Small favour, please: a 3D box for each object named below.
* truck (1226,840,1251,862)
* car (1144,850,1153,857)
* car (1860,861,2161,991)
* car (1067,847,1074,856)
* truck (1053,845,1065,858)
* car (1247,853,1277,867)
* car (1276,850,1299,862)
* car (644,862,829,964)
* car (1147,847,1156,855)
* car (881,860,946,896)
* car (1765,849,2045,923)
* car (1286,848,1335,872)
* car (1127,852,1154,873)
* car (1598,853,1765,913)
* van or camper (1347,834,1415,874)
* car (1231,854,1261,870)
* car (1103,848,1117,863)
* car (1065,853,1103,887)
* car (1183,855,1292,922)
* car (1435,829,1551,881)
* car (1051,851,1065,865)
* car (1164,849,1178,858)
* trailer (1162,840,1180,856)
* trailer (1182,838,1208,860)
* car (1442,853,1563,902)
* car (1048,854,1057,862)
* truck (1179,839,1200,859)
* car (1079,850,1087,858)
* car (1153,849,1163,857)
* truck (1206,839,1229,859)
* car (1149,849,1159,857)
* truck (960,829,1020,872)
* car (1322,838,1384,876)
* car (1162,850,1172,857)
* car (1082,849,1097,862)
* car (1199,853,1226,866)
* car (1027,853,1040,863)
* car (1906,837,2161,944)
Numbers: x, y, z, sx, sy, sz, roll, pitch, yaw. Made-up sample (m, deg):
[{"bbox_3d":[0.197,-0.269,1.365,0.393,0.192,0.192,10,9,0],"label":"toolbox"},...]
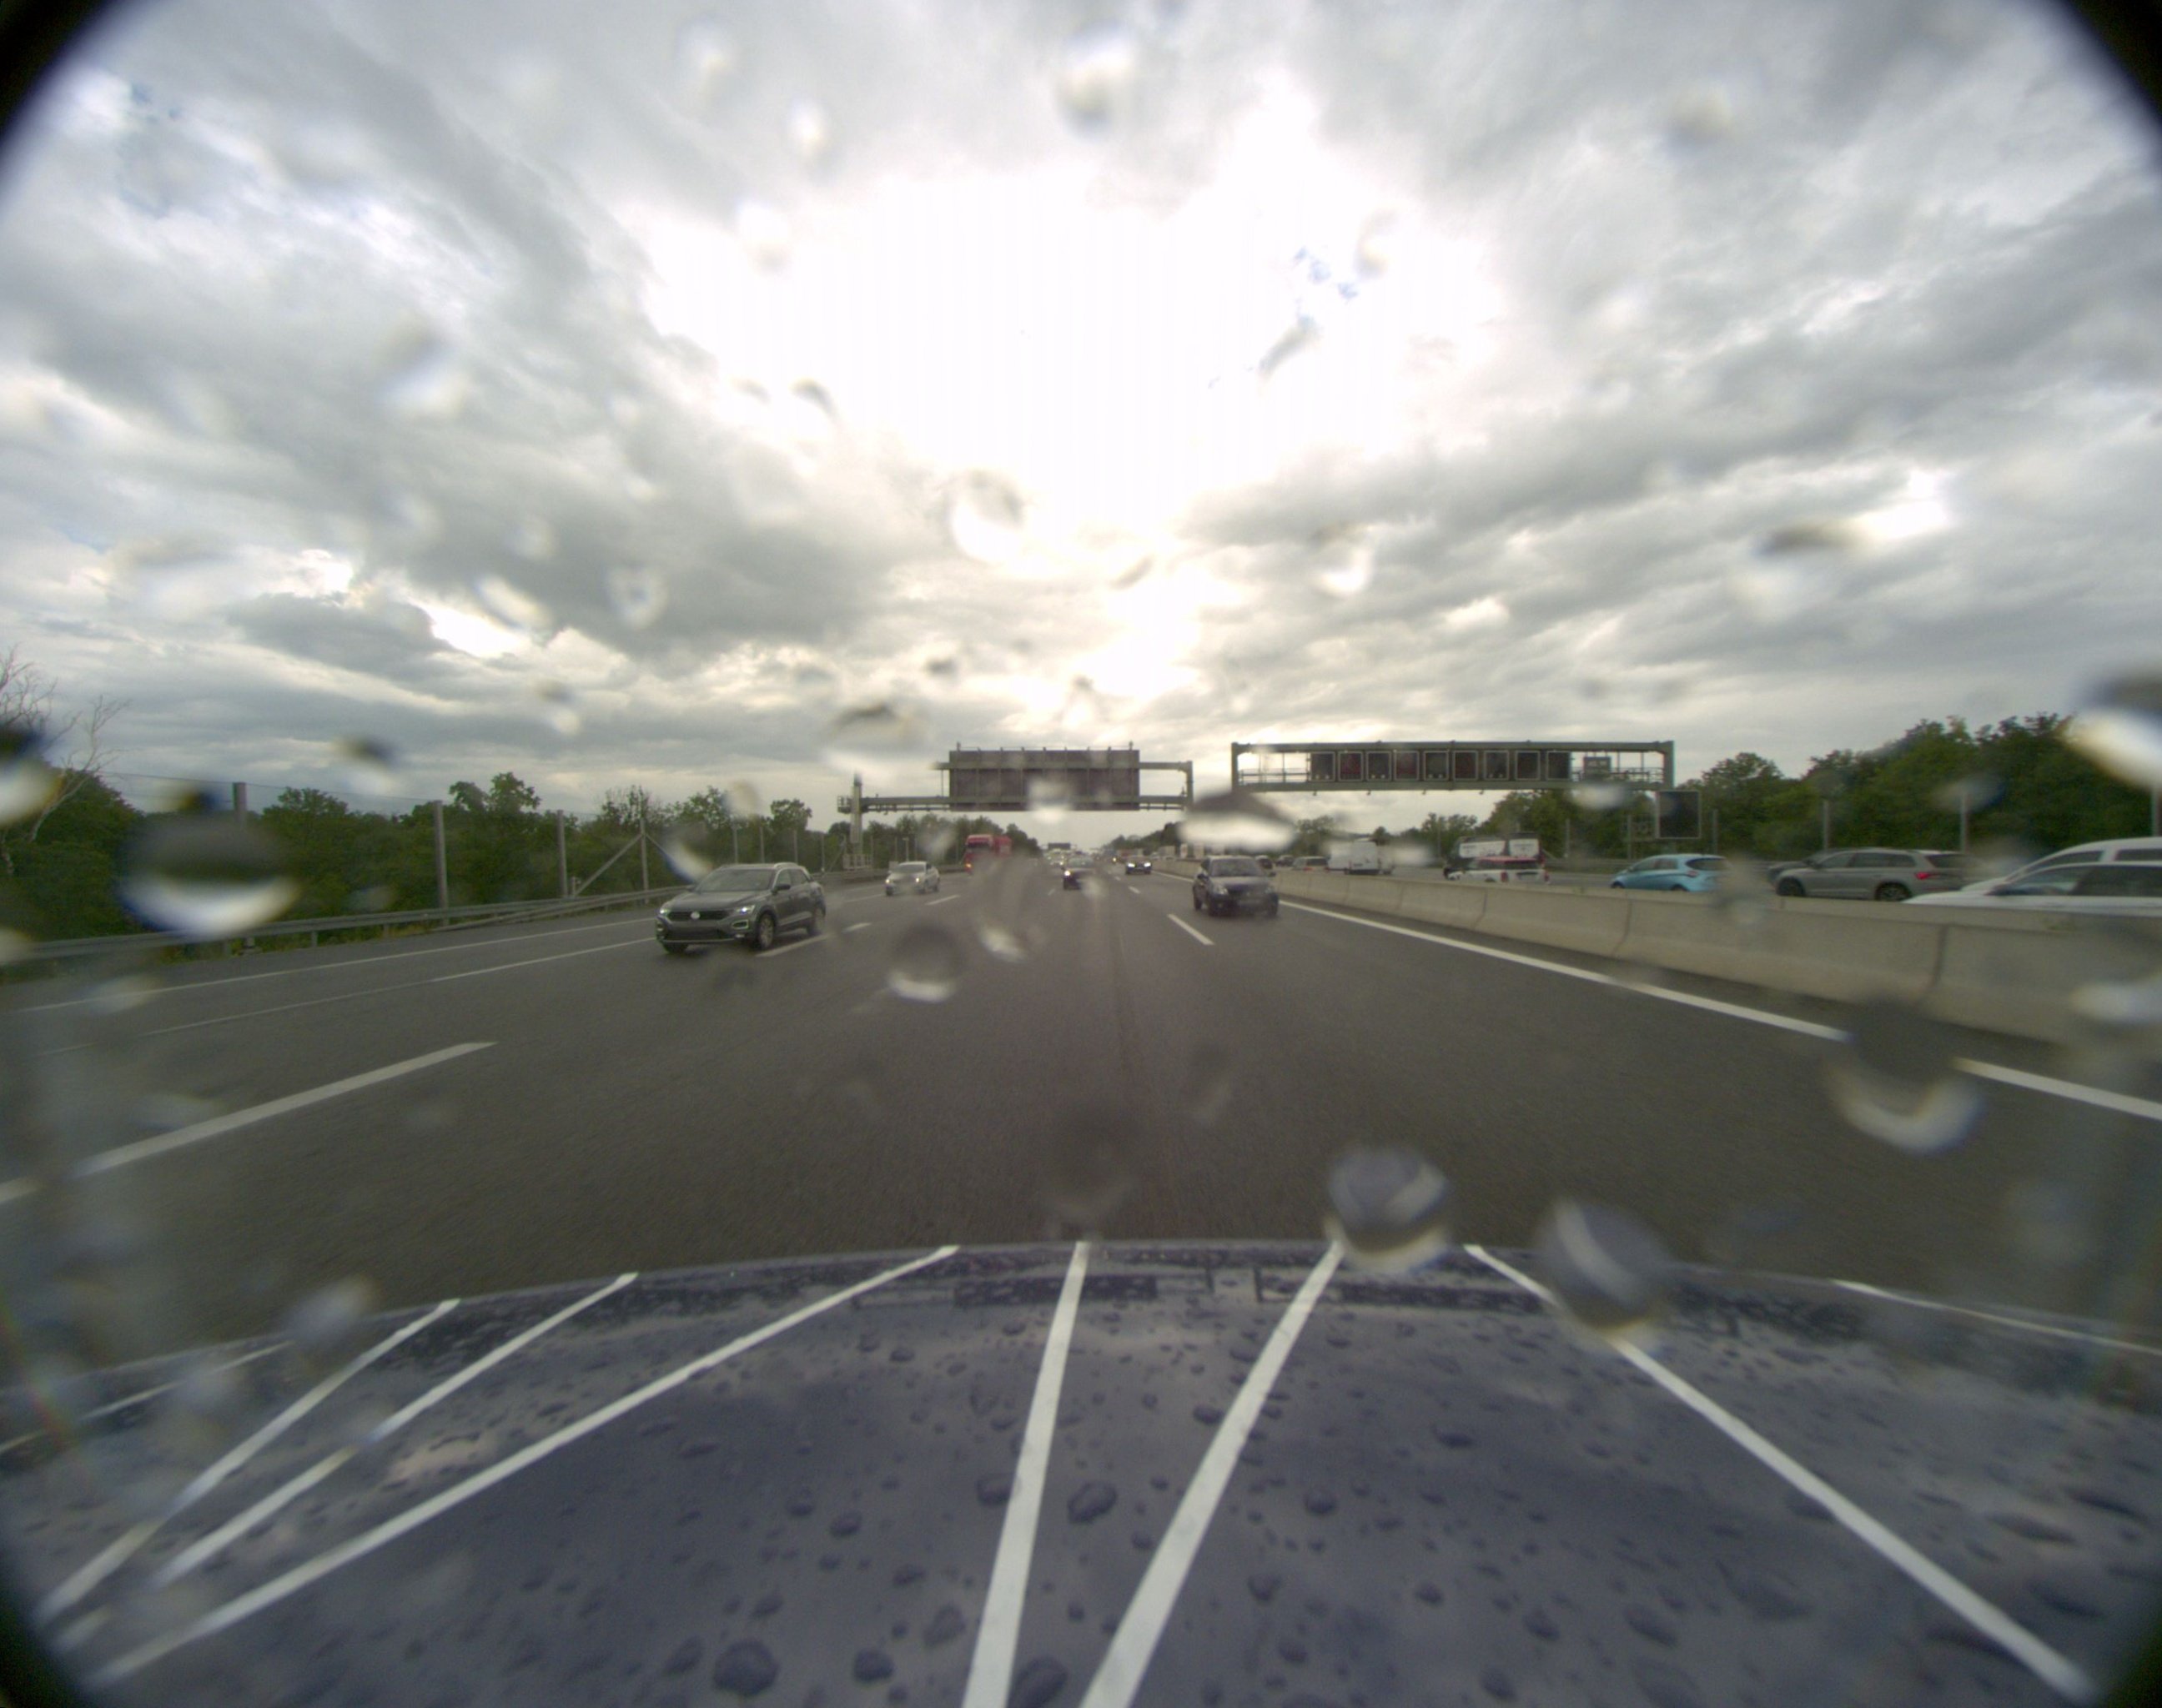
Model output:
[{"bbox_3d":[26.071,-0.474,125.864,2.470,3.516,7.807,-1,0,0],"label":"truck"},{"bbox_3d":[15.793,-0.117,177.805,1.797,1.609,4.283,-2,0,1],"label":"car"},{"bbox_3d":[13.962,0.893,10.359,1.646,1.484,4.933,-2,0,1],"label":"car"},{"bbox_3d":[-3.258,-0.698,226.630,2.037,2.587,4.512,-1,0,-2],"label":"car"},{"bbox_3d":[-7.096,-0.828,245.122,3.256,3.884,12.309,-2,0,-4],"label":"truck"},{"bbox_3d":[18.584,0.629,78.252,1.803,1.349,5.129,-1,0,0],"label":"car"},{"bbox_3d":[26.642,0.277,98.041,1.766,1.418,4.341,-1,0,0],"label":"car"},{"bbox_3d":[-6.355,1.005,14.519,1.797,1.553,3.721,-2,1,0],"label":"car"},{"bbox_3d":[18.453,-0.718,199.829,1.826,2.040,5.674,-1,0,0],"label":"car"},{"bbox_3d":[-7.608,1.060,34.886,1.898,1.438,4.246,-2,0,2],"label":"car"},{"bbox_3d":[21.468,0.731,20.245,1.716,1.657,5.316,-2,0,1],"label":"car"},{"bbox_3d":[14.730,0.337,49.002,1.763,1.429,4.393,-2,0,0],"label":"car"},{"bbox_3d":[4.600,0.664,59.292,1.751,1.489,4.015,-2,1,1],"label":"car"},{"bbox_3d":[18.425,0.816,23.605,1.806,1.612,4.280,-2,0,1],"label":"car"},{"bbox_3d":[22.827,0.001,58.190,2.590,2.830,6.212,-1,0,-1],"label":"van or camper"},{"bbox_3d":[15.350,0.725,71.033,1.707,1.383,4.504,-1,0,-1],"label":"car"},{"bbox_3d":[4.640,0.218,123.201,1.999,2.354,4.171,-2,0,-1],"label":"car"},{"bbox_3d":[0.190,0.739,36.321,1.668,1.431,4.405,-2,1,2],"label":"car"},{"bbox_3d":[3.798,0.771,19.317,1.781,1.399,5.016,-2,0,1],"label":"car"},{"bbox_3d":[22.049,0.039,41.152,2.277,2.531,7.358,-1,0,0],"label":"car"},{"bbox_3d":[-3.209,0.566,106.452,1.962,1.831,3.999,-1,1,-1],"label":"car"},{"bbox_3d":[15.810,-0.056,133.282,1.877,1.638,4.721,-1,0,0],"label":"car"},{"bbox_3d":[23.157,-1.434,196.033,3.252,3.910,13.014,-2,0,0],"label":"trailer"},{"bbox_3d":[22.635,-0.979,151.475,3.195,4.169,11.956,-1,0,0],"label":"trailer"},{"bbox_3d":[14.428,0.729,26.319,1.762,1.489,4.393,-2,0,1],"label":"car"},{"bbox_3d":[-5.682,0.740,150.870,1.782,1.438,4.586,-2,0,-2],"label":"car"},{"bbox_3d":[22.713,-1.013,158.951,3.186,4.169,7.737,-1,0,0],"label":"truck"},{"bbox_3d":[0.500,0.035,213.441,1.999,2.002,3.507,-2,0,-2],"label":"car"},{"bbox_3d":[14.840,-0.162,146.689,1.649,1.432,4.729,-2,0,1],"label":"car"},{"bbox_3d":[27.499,-0.962,153.335,2.906,3.818,10.756,-1,0,1],"label":"truck"},{"bbox_3d":[15.746,-0.191,164.013,1.797,1.609,4.000,-2,0,1],"label":"car"},{"bbox_3d":[-9.346,-0.368,80.763,3.159,3.980,15.641,-2,0,5],"label":"truck"},{"bbox_3d":[19.206,0.207,54.068,2.208,2.474,6.065,-1,0,0],"label":"car"},{"bbox_3d":[19.167,-0.153,169.107,1.649,1.494,4.676,-2,0,1],"label":"car"},{"bbox_3d":[1.289,0.156,111.772,2.134,1.831,3.999,-1,1,0],"label":"car"},{"bbox_3d":[14.765,0.621,85.651,2.084,1.349,5.256,-1,0,0],"label":"car"},{"bbox_3d":[-7.180,0.598,116.002,1.820,1.534,4.356,-2,0,-2],"label":"car"},{"bbox_3d":[17.985,0.565,13.380,1.716,1.657,4.795,-2,0,1],"label":"car"}]
